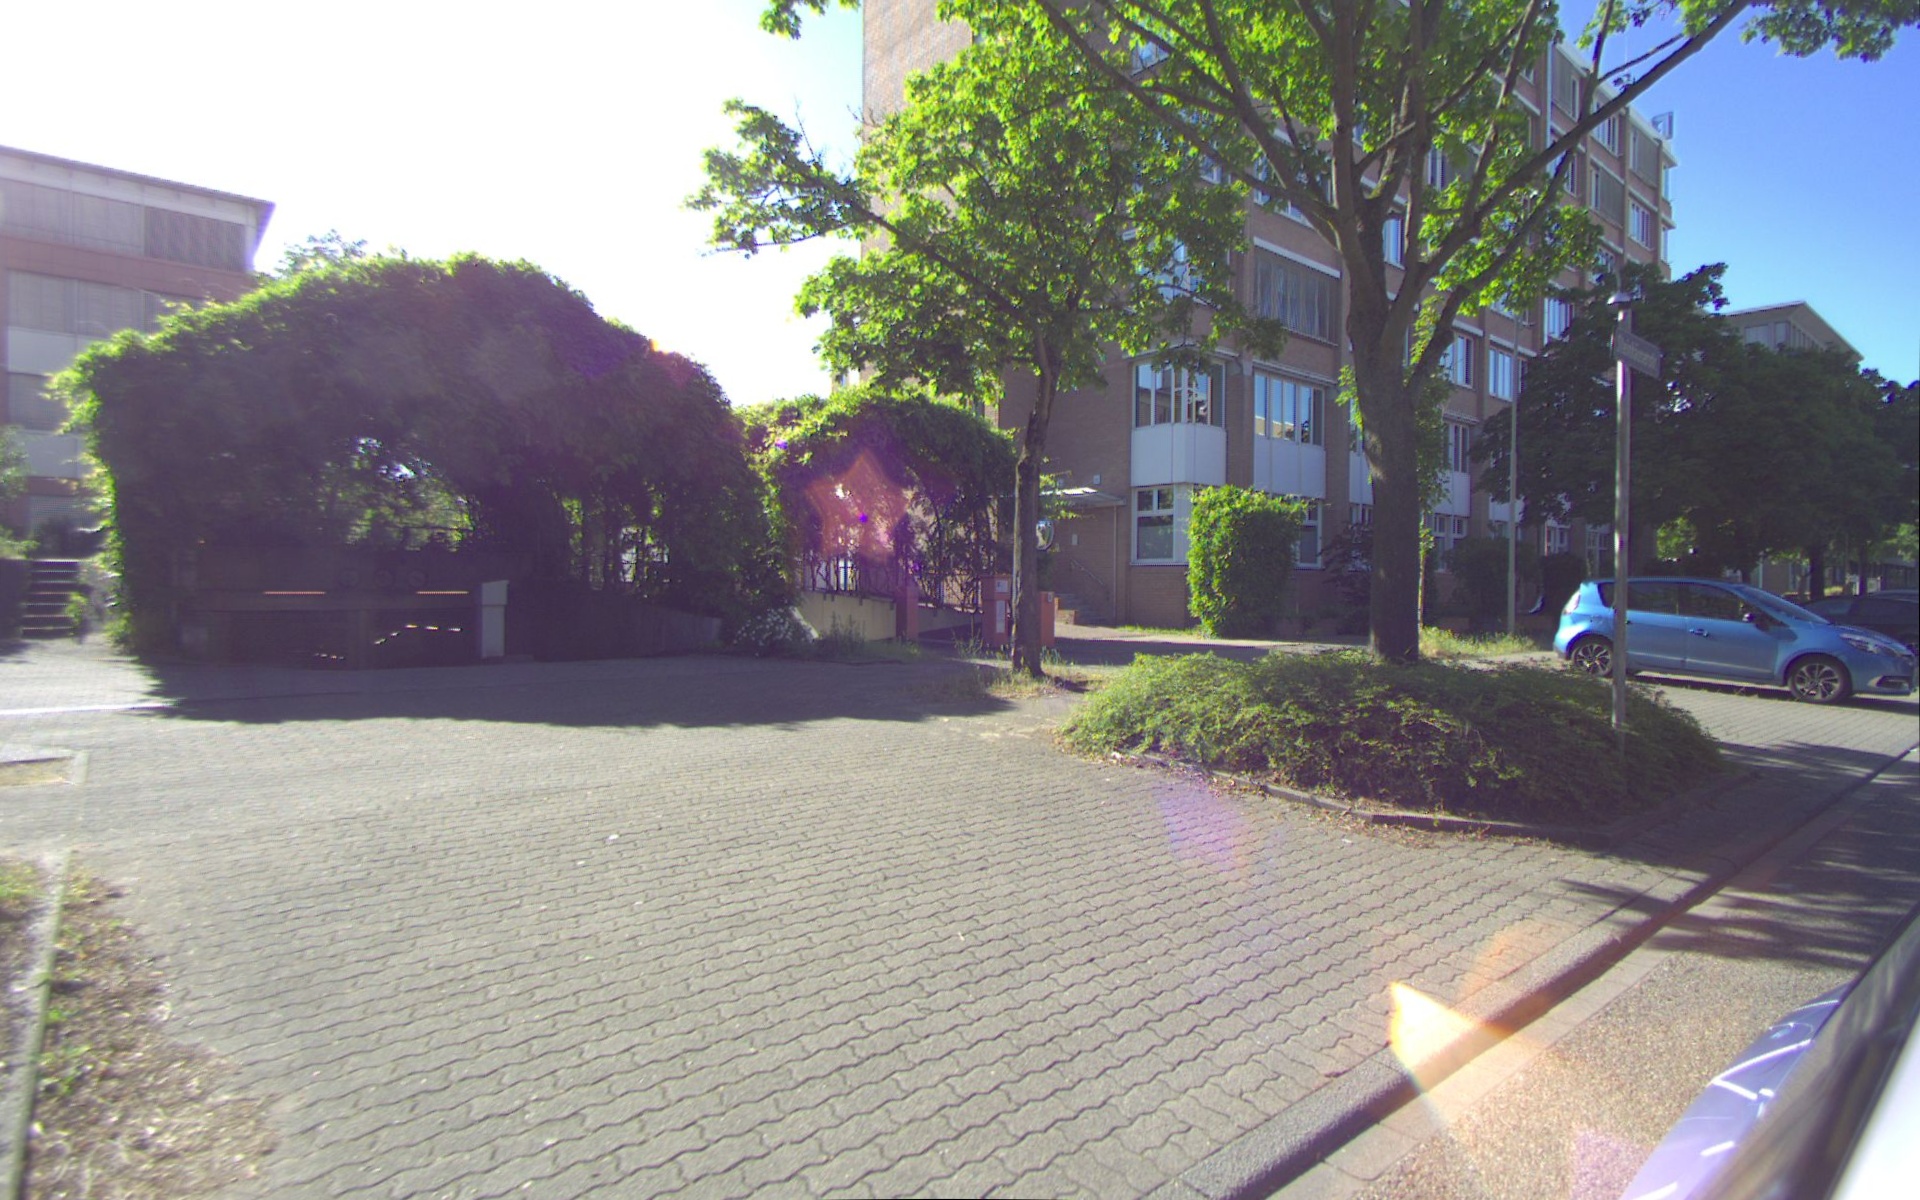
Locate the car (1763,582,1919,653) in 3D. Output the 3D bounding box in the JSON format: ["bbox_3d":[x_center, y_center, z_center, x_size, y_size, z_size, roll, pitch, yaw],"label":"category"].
[{"bbox_3d":[21.165,0.402,23.387,1.672,1.425,3.809,1,3,-41],"label":"car"}]

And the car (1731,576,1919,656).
[{"bbox_3d":[19.609,0.329,22.283,1.793,1.501,3.854,1,3,-41],"label":"car"}]

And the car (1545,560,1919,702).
[{"bbox_3d":[11.508,0.319,15.066,1.878,1.638,4.415,0,4,-40],"label":"car"}]

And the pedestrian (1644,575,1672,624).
[{"bbox_3d":[22.637,-0.023,32.827,0.584,1.540,0.603,0,1,-43],"label":"pedestrian"}]

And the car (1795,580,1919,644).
[{"bbox_3d":[25.070,0.308,26.859,4.353,1.617,1.909,2,2,44],"label":"car"}]

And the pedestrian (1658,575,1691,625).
[{"bbox_3d":[22.887,-0.008,32.424,0.550,1.572,0.757,0,1,-43],"label":"pedestrian"}]

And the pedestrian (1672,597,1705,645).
[{"bbox_3d":[23.114,0.643,32.125,0.703,1.476,0.701,0,1,-43],"label":"pedestrian"}]
